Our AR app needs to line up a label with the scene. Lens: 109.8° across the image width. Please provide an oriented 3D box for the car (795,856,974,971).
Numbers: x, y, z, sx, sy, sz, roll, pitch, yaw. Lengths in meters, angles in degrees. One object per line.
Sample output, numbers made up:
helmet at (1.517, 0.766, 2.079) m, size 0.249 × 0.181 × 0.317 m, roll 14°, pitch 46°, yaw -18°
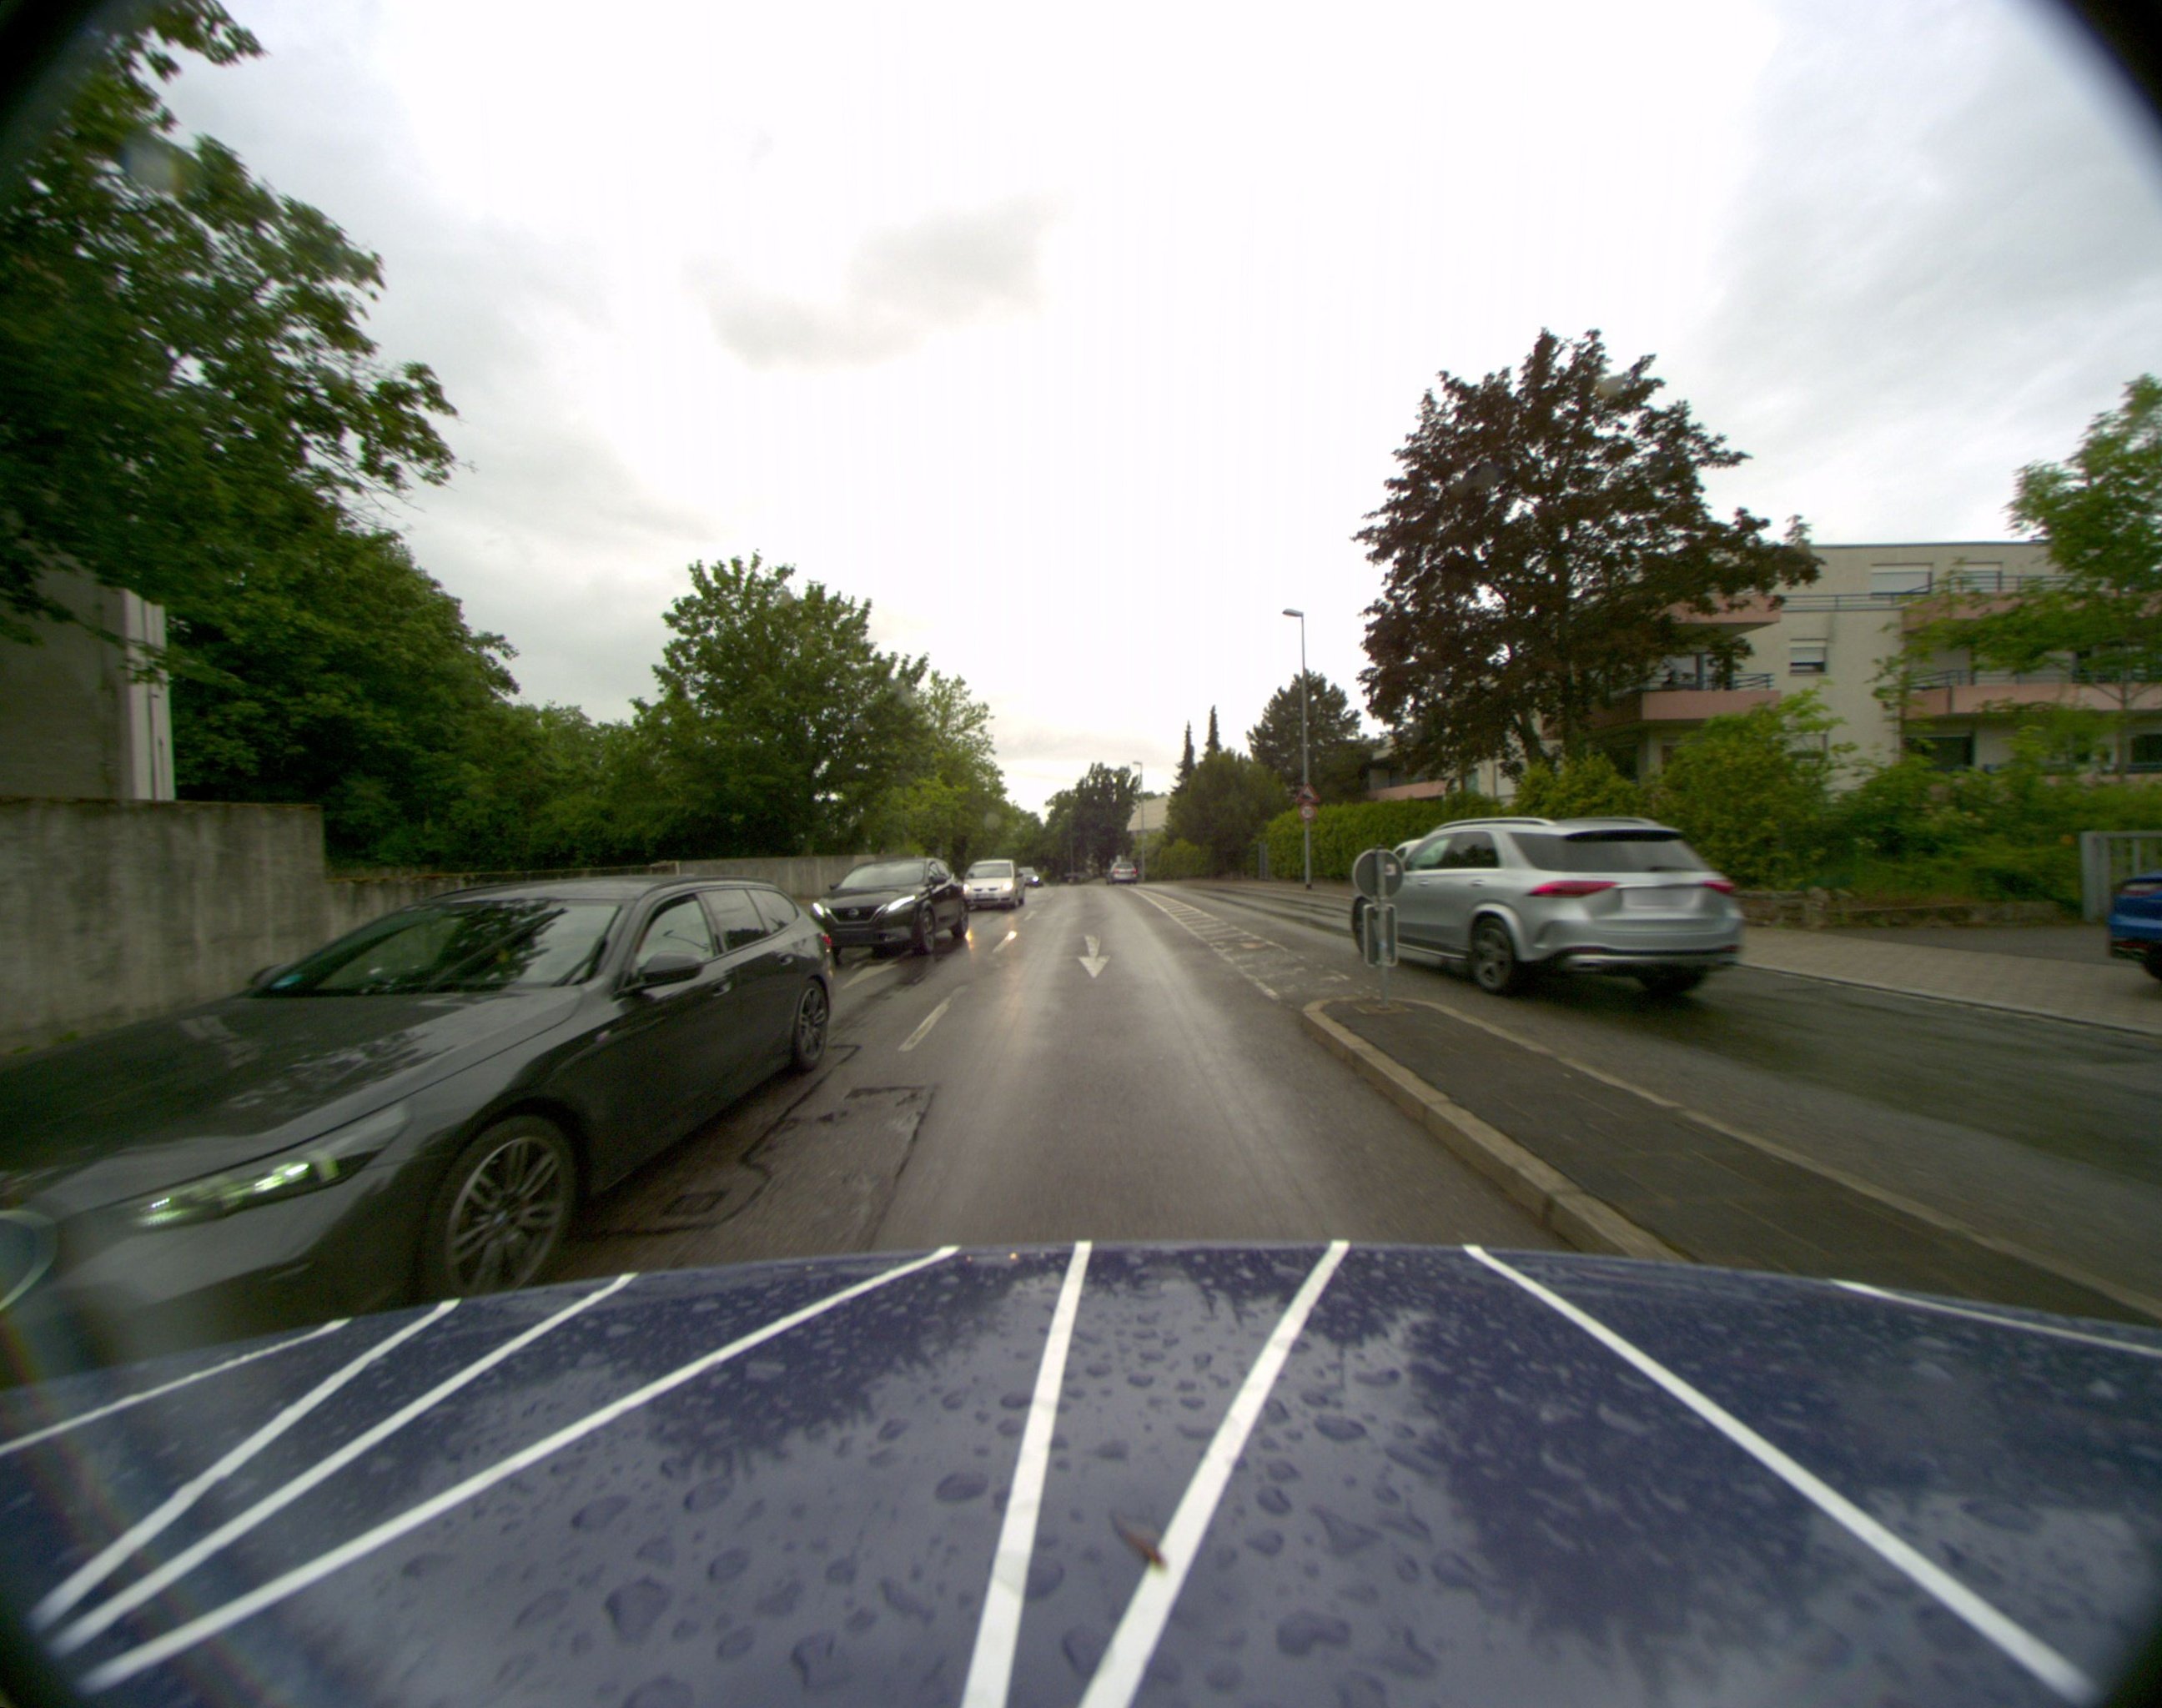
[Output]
car at (-3.221, 0.898, 13.386) m, size 1.794 × 1.594 × 4.254 m, roll -3°, pitch 0°, yaw 3°

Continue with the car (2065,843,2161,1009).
car at (11.287, 0.475, 6.225) m, size 4.496 × 1.354 × 1.805 m, roll -4°, pitch -1°, yaw -6°

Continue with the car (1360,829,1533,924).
car at (7.878, 0.445, 16.834) m, size 1.705 × 1.698 × 3.978 m, roll -5°, pitch 0°, yaw -2°

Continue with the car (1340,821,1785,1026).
car at (4.837, 0.587, 8.638) m, size 2.047 × 1.706 × 4.480 m, roll 0°, pitch 0°, yaw -4°

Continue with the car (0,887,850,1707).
car at (-2.891, 1.025, 3.899) m, size 1.910 × 1.450 × 4.777 m, roll -1°, pitch 0°, yaw 0°

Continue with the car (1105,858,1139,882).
car at (2.889, 1.112, 54.595) m, size 1.640 × 1.570 × 4.054 m, roll 1°, pitch 0°, yaw -9°

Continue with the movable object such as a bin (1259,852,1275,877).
movable object such as a bin at (10.220, 0.594, 41.700) m, size 0.549 × 1.318 × 0.806 m, roll -3°, pitch -1°, yaw -4°

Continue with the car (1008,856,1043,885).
car at (-3.760, 1.197, 52.363) m, size 2.036 × 1.690 × 4.002 m, roll -4°, pitch -3°, yaw -1°

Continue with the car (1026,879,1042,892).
car at (-7.500, 4.966, 120.623) m, size 1.870 × 1.904 × 5.026 m, roll 0°, pitch -2°, yaw -11°

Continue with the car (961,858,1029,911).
car at (-2.688, 0.923, 24.420) m, size 1.640 × 1.496 × 4.000 m, roll -1°, pitch 0°, yaw 1°

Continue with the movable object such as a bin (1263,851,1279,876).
movable object such as a bin at (10.200, 0.531, 40.812) m, size 0.549 × 1.318 × 0.806 m, roll -3°, pitch -1°, yaw -4°
